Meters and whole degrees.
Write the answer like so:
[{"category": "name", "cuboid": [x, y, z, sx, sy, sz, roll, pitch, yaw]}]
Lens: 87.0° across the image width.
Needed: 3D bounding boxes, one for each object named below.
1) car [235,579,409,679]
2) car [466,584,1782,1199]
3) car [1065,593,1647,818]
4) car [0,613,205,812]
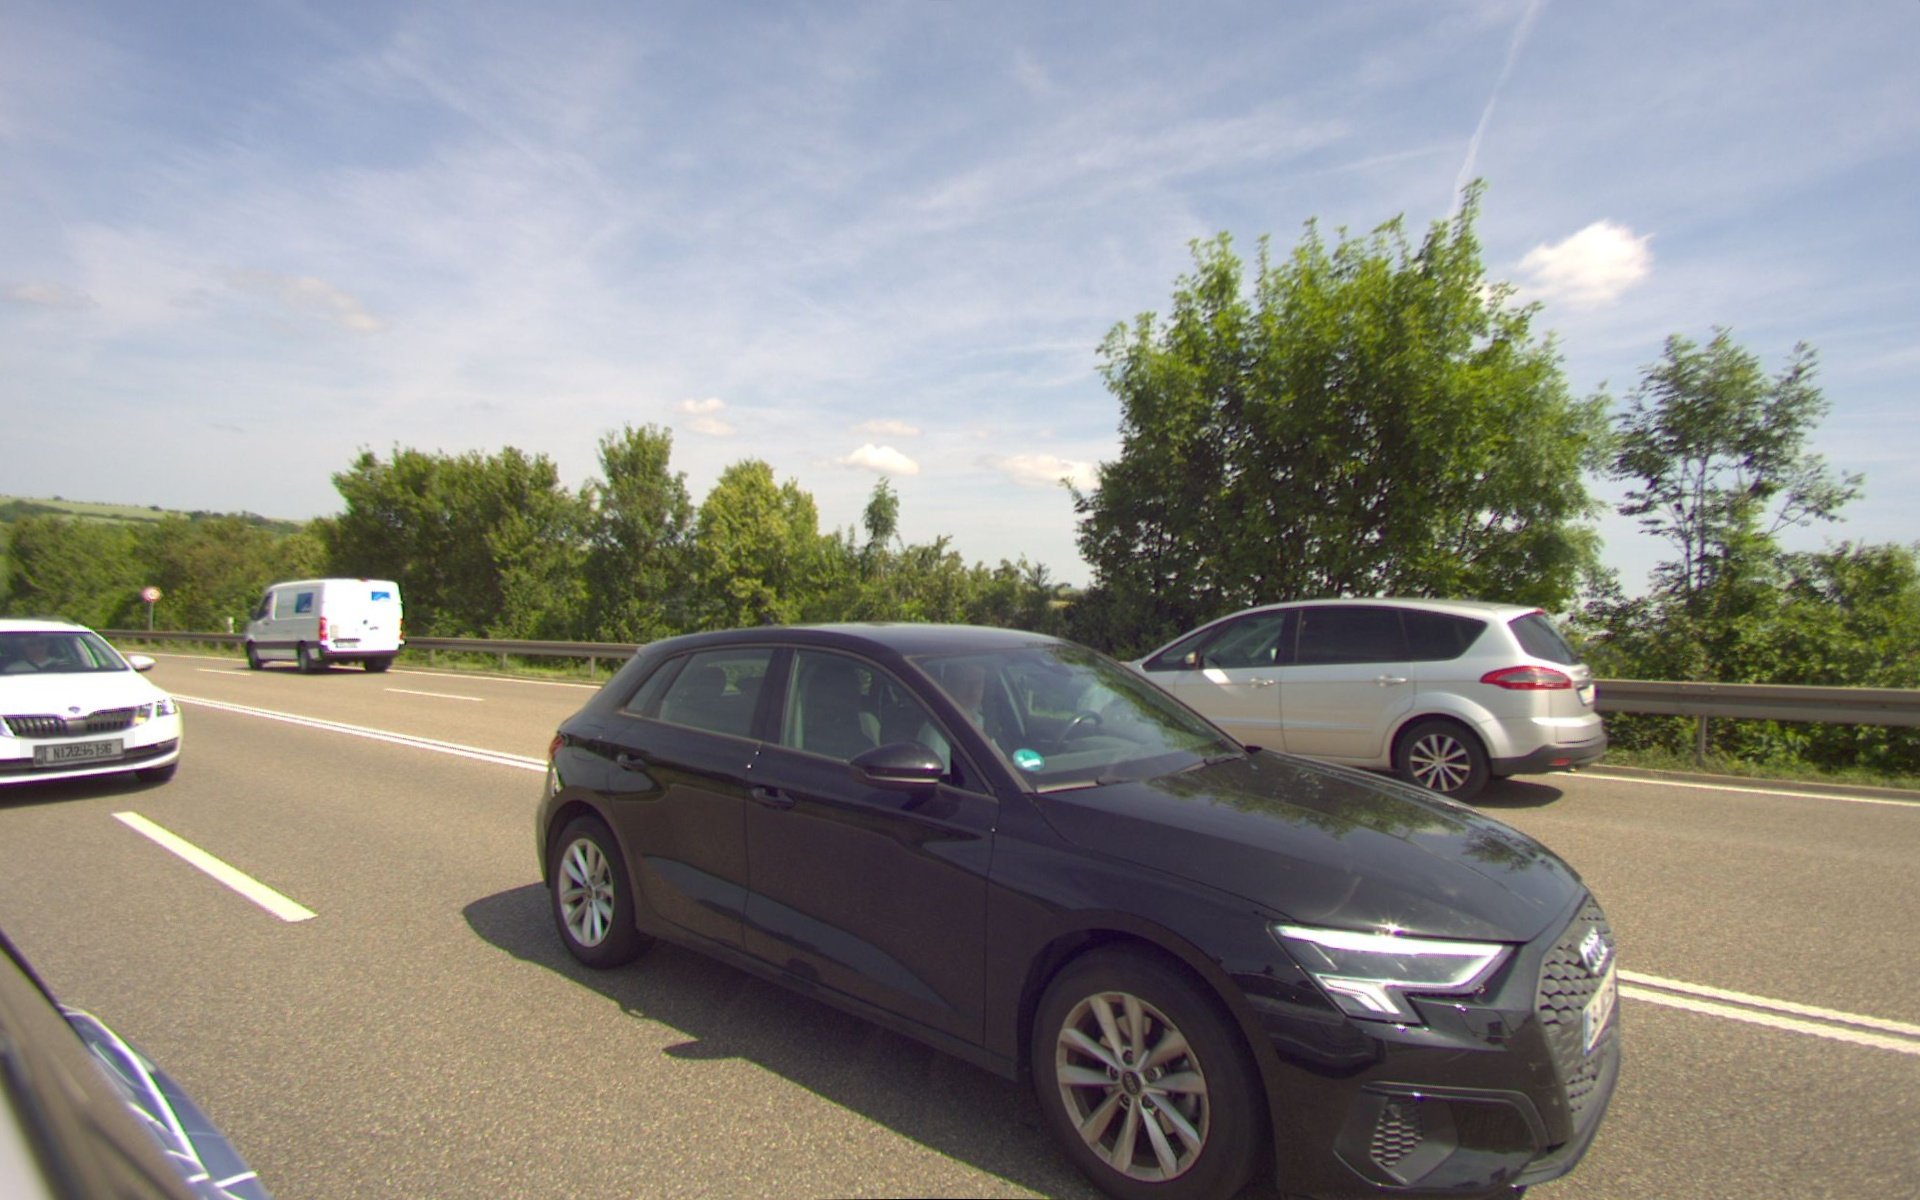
[{"category": "car", "cuboid": [-17.108, 0.752, 27.012, 5.836, 2.413, 2.069, -1, -1, 38]}, {"category": "car", "cuboid": [0.024, 0.742, 3.869, 4.808, 1.483, 1.687, -1, -1, 41]}, {"category": "car", "cuboid": [3.402, 0.790, 9.325, 4.680, 1.580, 1.794, -1, -2, 40]}, {"category": "car", "cuboid": [-8.896, 0.890, 9.285, 4.778, 1.483, 1.805, -1, -1, 36]}]
